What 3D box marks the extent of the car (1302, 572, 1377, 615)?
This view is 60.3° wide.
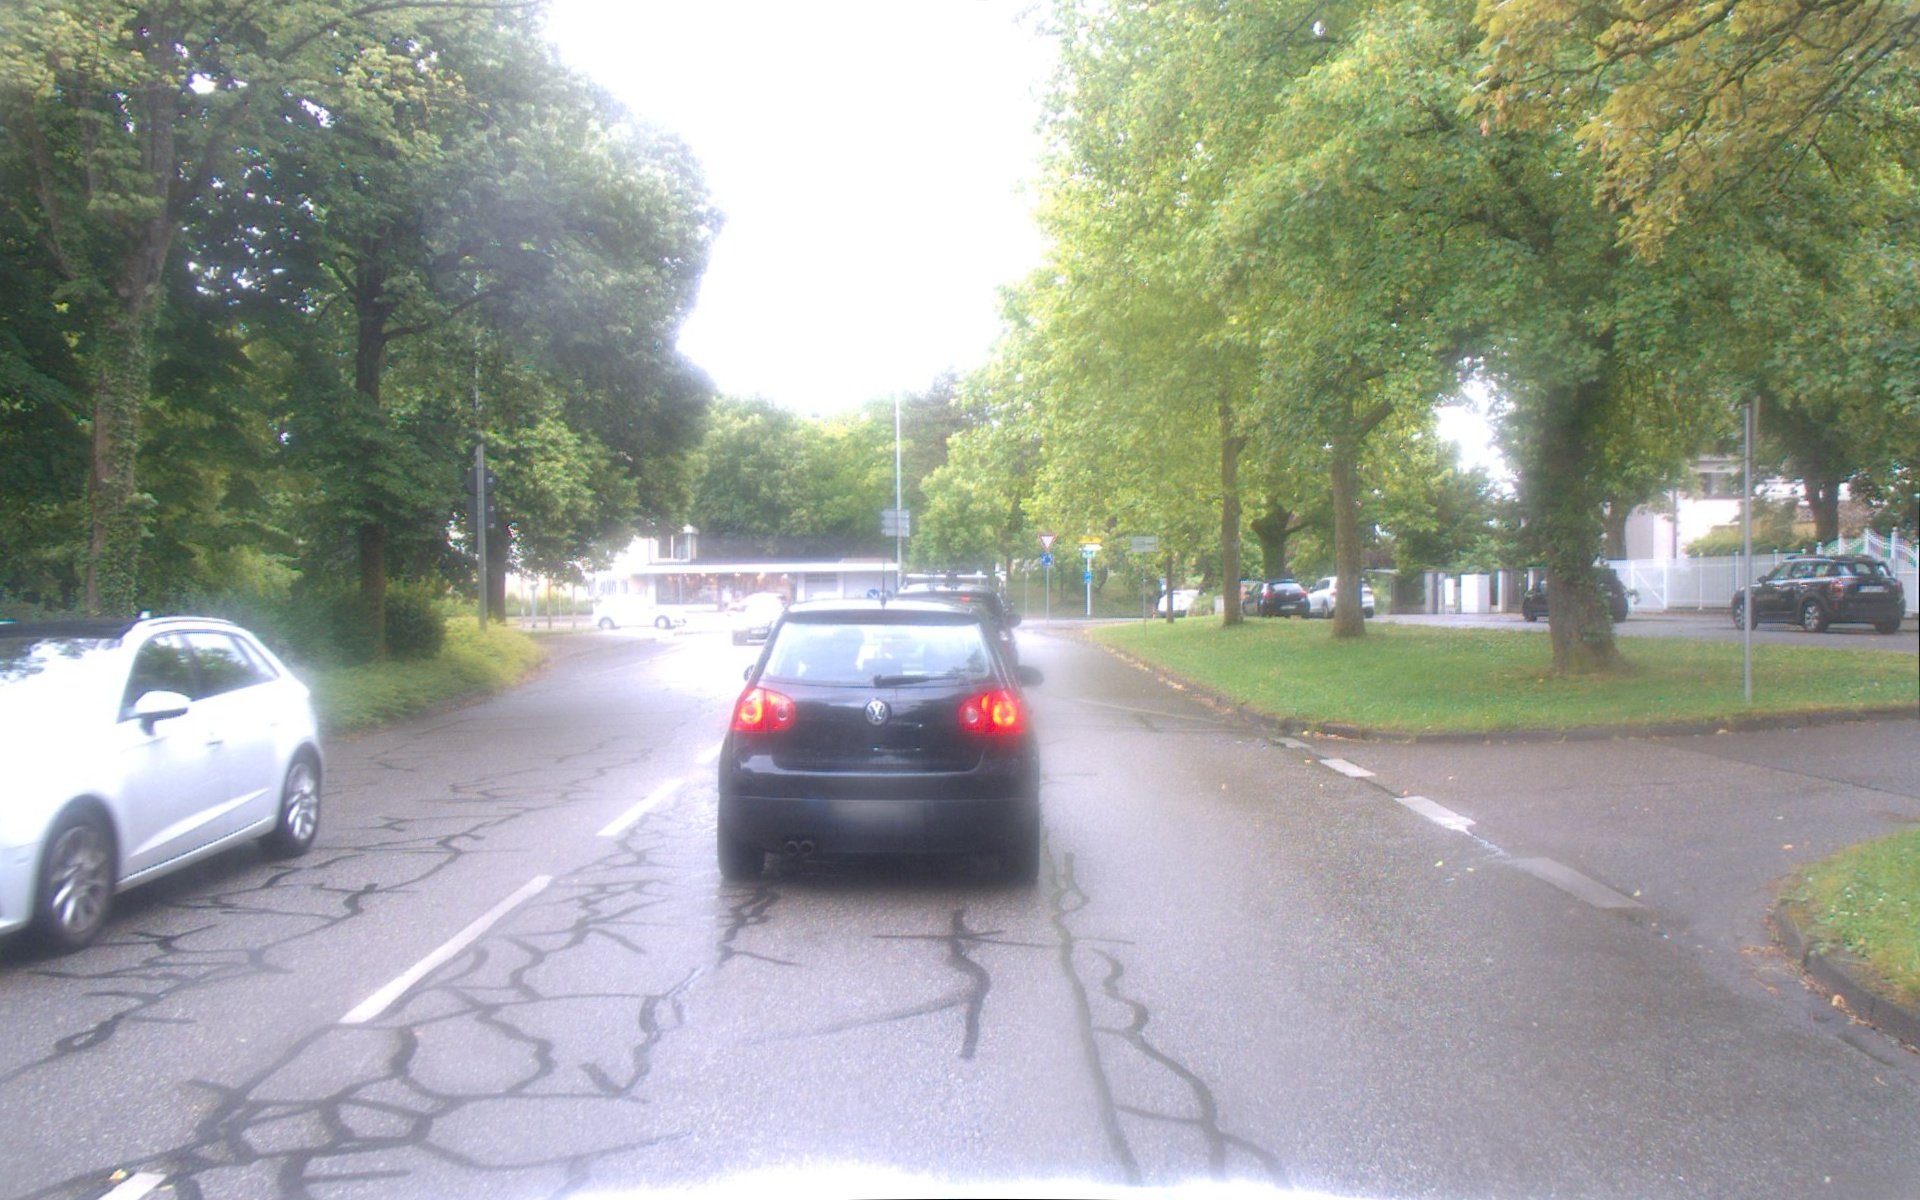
[{"bbox_3d":[13.772,-0.235,60.216,1.766,1.430,4.000,-2,0,0],"label":"car"}]

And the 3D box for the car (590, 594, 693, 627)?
[{"bbox_3d":[-14.834,0.488,77.219,4.404,1.444,1.847,-1,0,-1],"label":"car"}]

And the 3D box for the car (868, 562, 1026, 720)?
[{"bbox_3d":[-0.142,0.478,21.143,1.817,1.816,4.000,-1,0,0],"label":"car"}]

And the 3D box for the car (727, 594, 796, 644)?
[{"bbox_3d":[-6.171,0.559,51.843,1.761,1.417,3.977,-3,0,-2],"label":"car"}]

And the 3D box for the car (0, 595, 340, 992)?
[{"bbox_3d":[-4.541,0.747,8.166,1.576,1.452,4.006,-1,1,-3],"label":"car"}]

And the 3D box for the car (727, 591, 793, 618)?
[{"bbox_3d":[-12.178,0.274,100.909,3.585,1.539,1.712,-1,0,20],"label":"car"}]

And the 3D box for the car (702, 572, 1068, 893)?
[{"bbox_3d":[-0.353,0.632,9.842,1.762,1.542,3.753,0,0,0],"label":"car"}]

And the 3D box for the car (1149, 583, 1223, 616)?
[{"bbox_3d":[12.561,-0.051,91.965,3.965,1.736,1.970,-1,0,-41],"label":"car"}]

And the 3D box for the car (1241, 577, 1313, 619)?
[{"bbox_3d":[11.452,-0.079,59.942,1.766,1.409,4.000,-2,0,0],"label":"car"}]

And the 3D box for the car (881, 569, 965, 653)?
[{"bbox_3d":[-0.806,0.250,38.066,1.817,1.816,4.000,-1,0,0],"label":"car"}]

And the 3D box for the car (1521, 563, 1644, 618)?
[{"bbox_3d":[17.676,-0.294,47.161,1.766,1.436,4.110,-2,1,-3],"label":"car"}]

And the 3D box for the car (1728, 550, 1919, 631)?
[{"bbox_3d":[18.248,-0.223,35.179,1.766,1.556,4.110,-2,1,-3],"label":"car"}]

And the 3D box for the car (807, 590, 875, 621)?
[{"bbox_3d":[-5.502,0.238,76.256,3.059,1.333,1.538,-1,0,-5],"label":"car"}]
